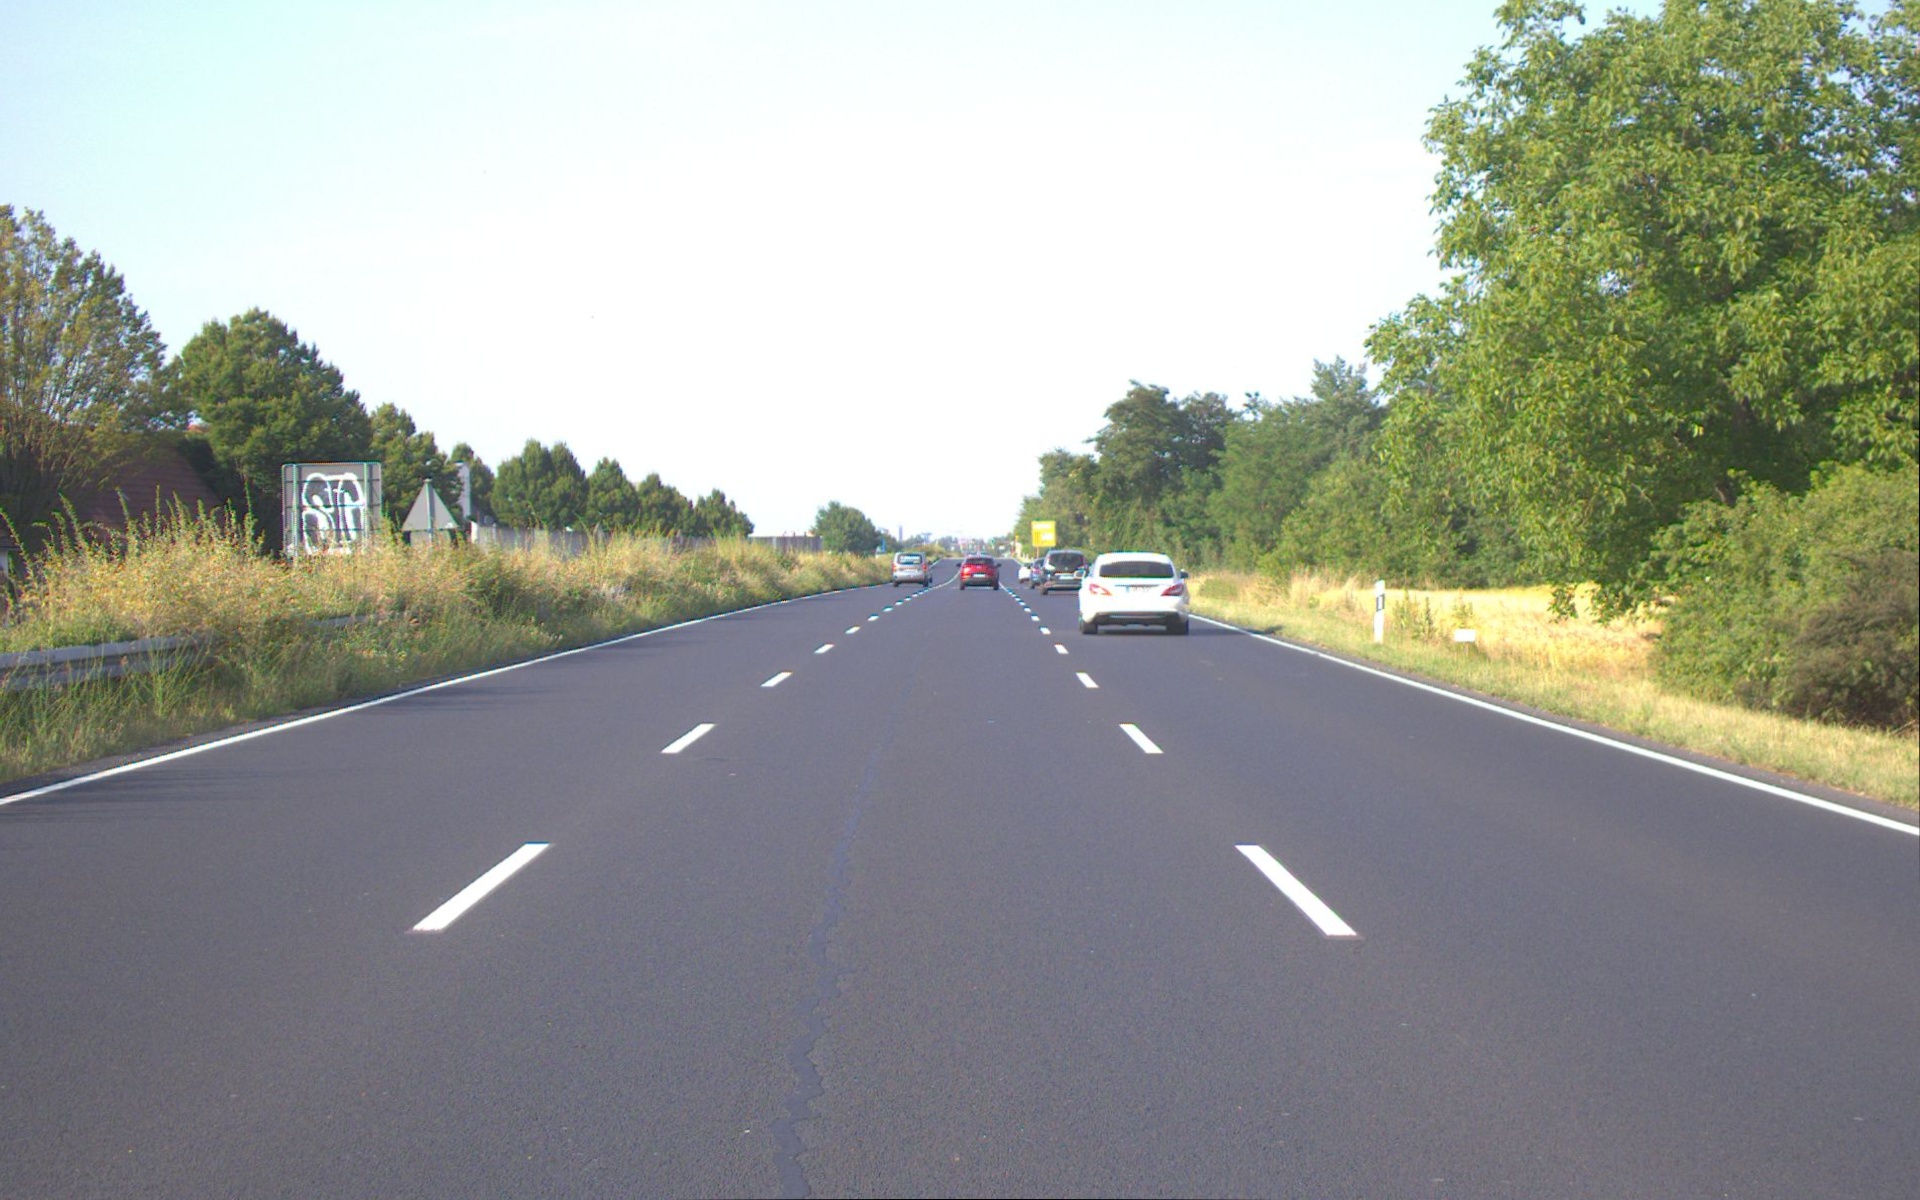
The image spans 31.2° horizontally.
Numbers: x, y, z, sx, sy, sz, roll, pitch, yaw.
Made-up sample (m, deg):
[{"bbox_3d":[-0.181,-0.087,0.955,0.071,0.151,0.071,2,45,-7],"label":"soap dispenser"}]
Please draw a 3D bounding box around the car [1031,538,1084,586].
[{"bbox_3d":[3.597,-1.386,126.974,1.828,1.722,4.000,0,0,0],"label":"car"}]

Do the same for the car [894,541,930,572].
[{"bbox_3d":[-2.588,-2.360,186.047,1.758,1.612,4.000,0,0,2],"label":"car"}]

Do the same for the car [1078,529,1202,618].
[{"bbox_3d":[3.157,-0.464,61.049,1.993,1.511,4.000,0,0,0],"label":"car"}]

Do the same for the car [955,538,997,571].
[{"bbox_3d":[0.693,-2.049,153.999,1.812,1.431,3.858,0,0,0],"label":"car"}]
